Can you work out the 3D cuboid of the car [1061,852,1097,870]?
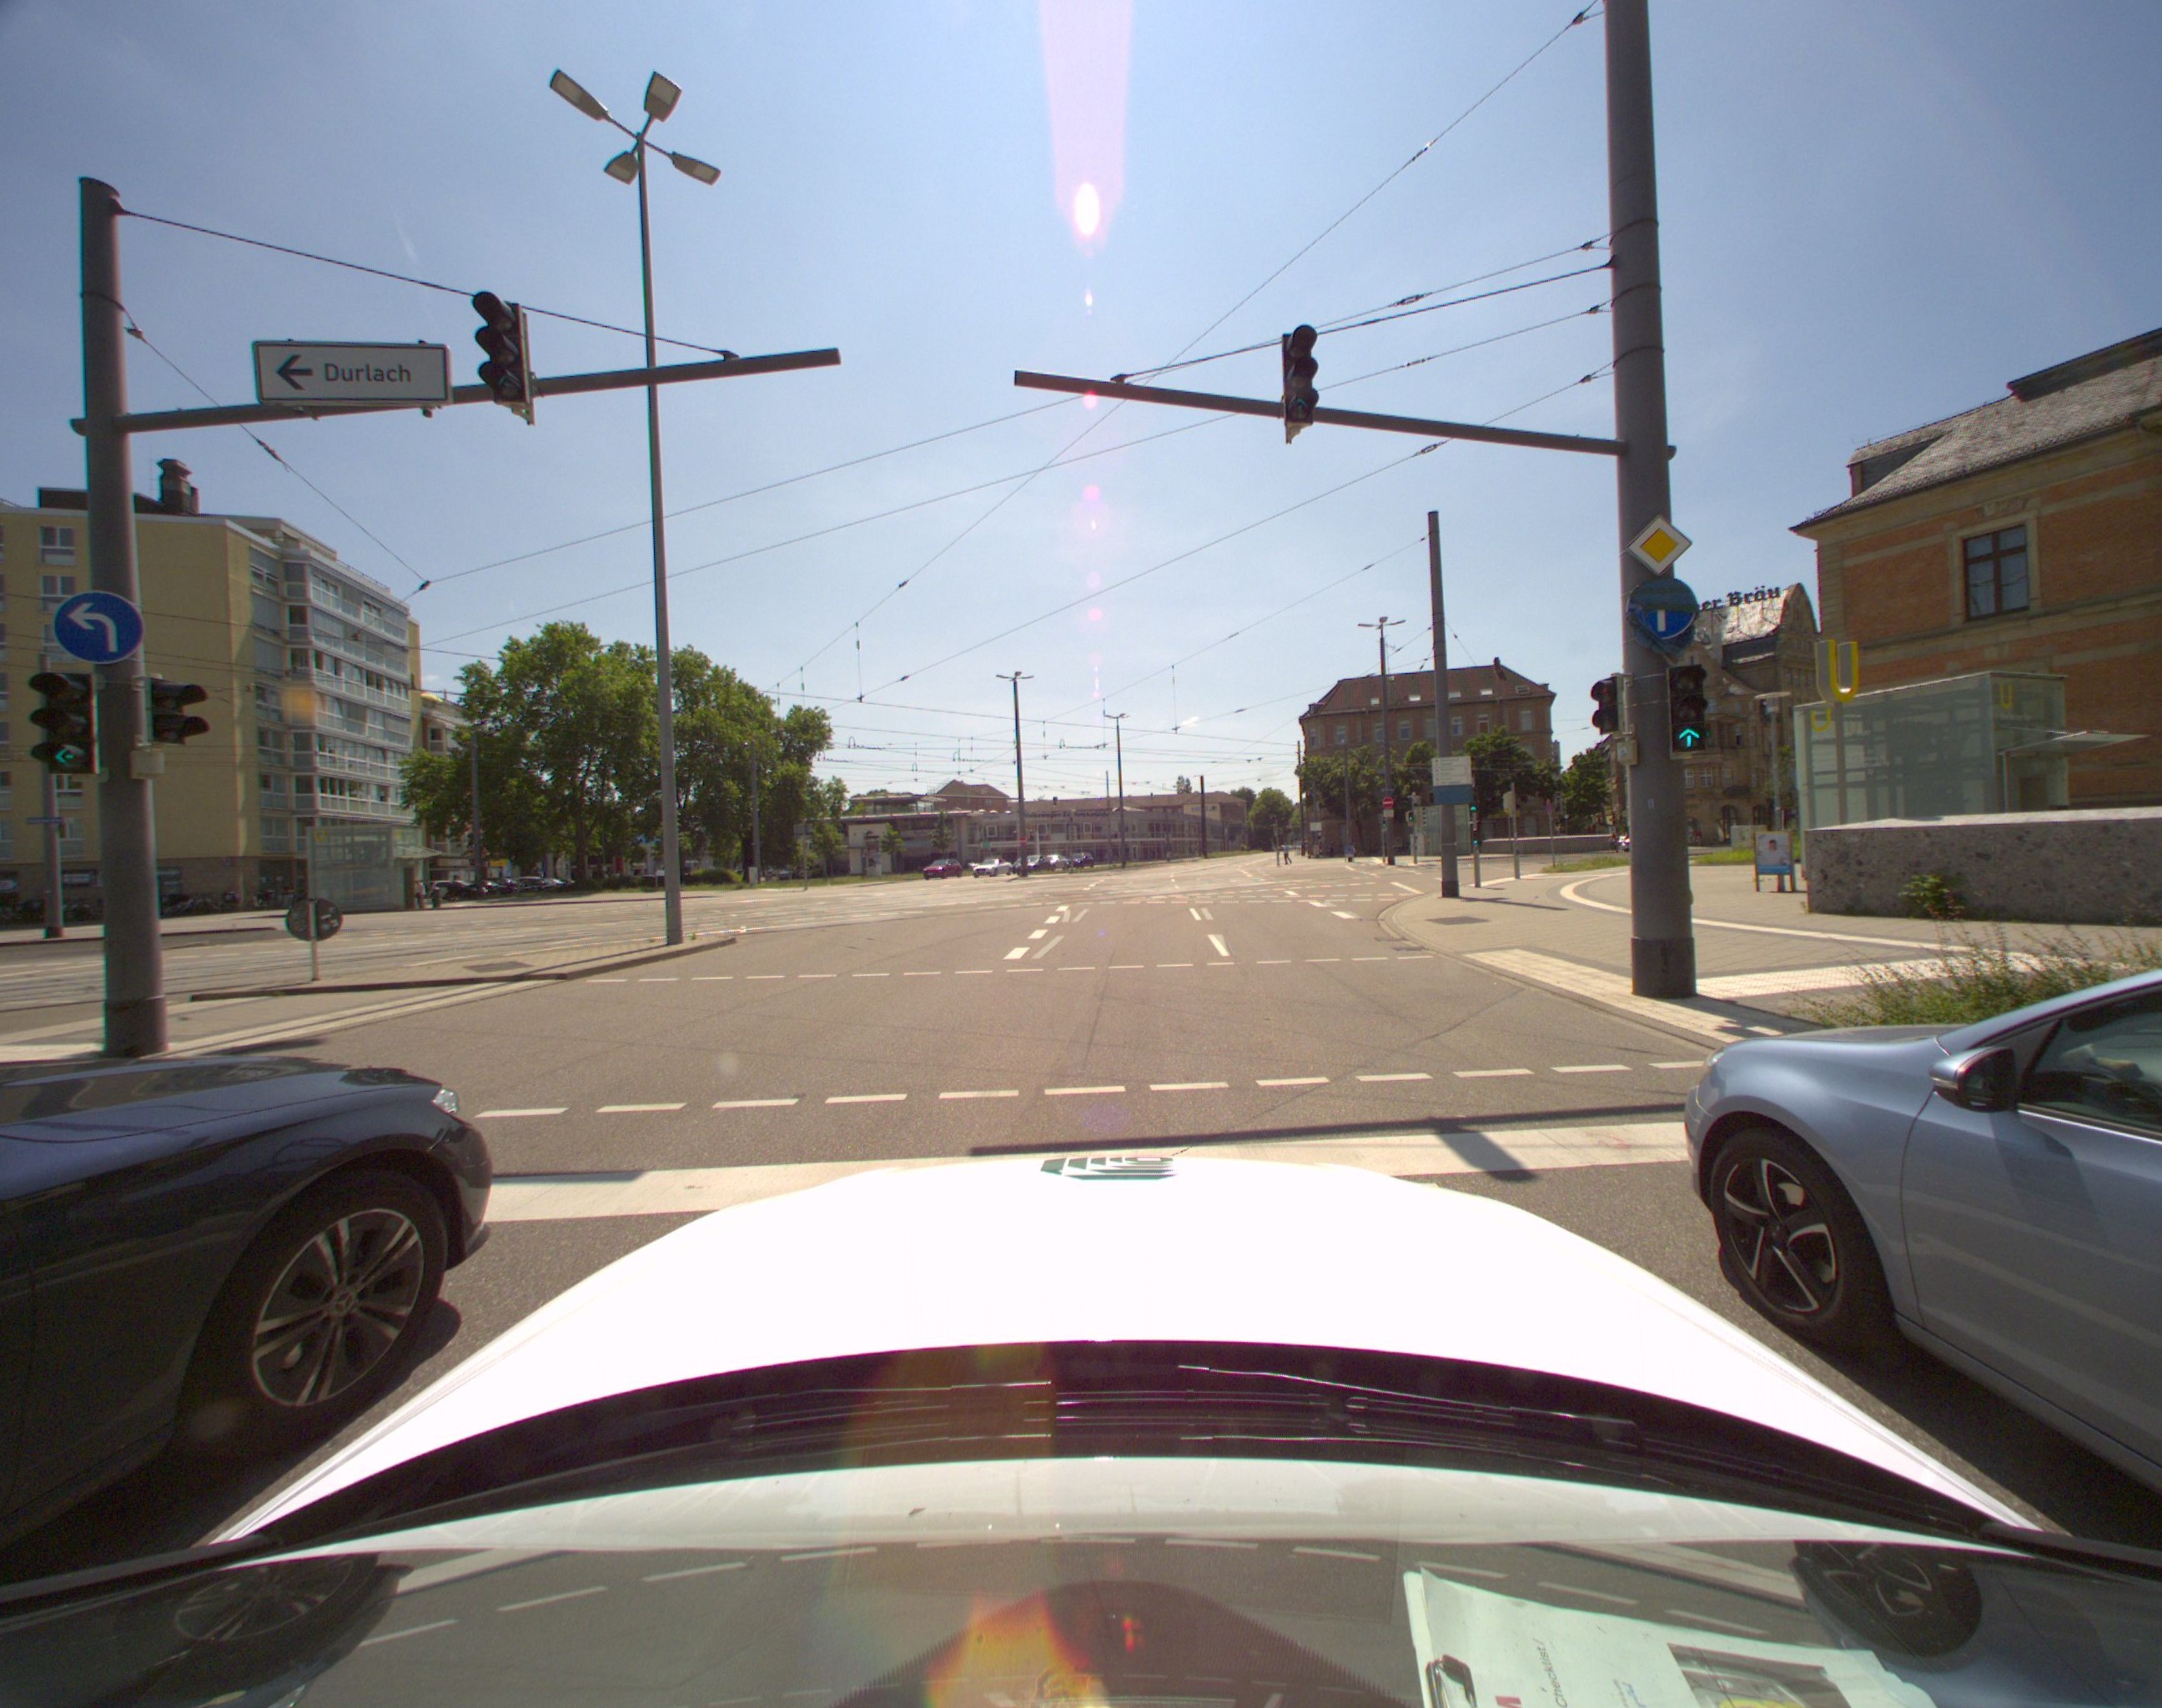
[{"bbox_3d":[-0.192,0.675,82.863,2.061,1.682,4.870,-2,0,19],"label":"car"}]

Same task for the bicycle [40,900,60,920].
[{"bbox_3d":[-56.496,3.038,44.625,0.435,1.026,1.426,-2,0,-42],"label":"bicycle"}]

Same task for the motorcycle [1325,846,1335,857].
[{"bbox_3d":[23.865,-0.235,78.038,0.577,1.074,1.949,-2,0,6],"label":"motorcycle"}]

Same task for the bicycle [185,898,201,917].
[{"bbox_3d":[-50.369,3.013,46.201,0.435,1.026,1.426,-2,0,-42],"label":"bicycle"}]

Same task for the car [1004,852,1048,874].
[{"bbox_3d":[-4.682,0.741,70.196,1.977,1.700,4.870,-2,0,19],"label":"car"}]

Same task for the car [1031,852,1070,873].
[{"bbox_3d":[-2.818,0.785,76.084,1.977,1.739,4.566,-2,0,19],"label":"car"}]

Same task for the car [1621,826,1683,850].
[{"bbox_3d":[42.127,-1.180,60.062,4.196,1.605,1.682,-2,0,-22],"label":"car"}]

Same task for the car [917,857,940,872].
[{"bbox_3d":[-18.778,1.291,100.425,1.913,1.707,4.003,0,-1,3],"label":"car"}]

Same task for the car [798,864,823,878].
[{"bbox_3d":[-33.871,2.123,101.984,1.762,1.510,4.323,-2,0,-2],"label":"car"}]

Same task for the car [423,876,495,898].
[{"bbox_3d":[-48.268,2.564,63.271,4.003,1.420,1.985,-2,0,-22],"label":"car"}]

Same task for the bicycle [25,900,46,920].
[{"bbox_3d":[-56.986,3.039,44.394,0.435,1.026,1.426,-2,0,-42],"label":"bicycle"}]

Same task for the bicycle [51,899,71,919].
[{"bbox_3d":[-55.989,3.035,44.694,0.435,1.026,1.426,-2,0,-42],"label":"bicycle"}]

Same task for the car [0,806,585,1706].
[{"bbox_3d":[-2.917,0.746,0.723,1.790,1.640,4.808,-1,0,3],"label":"car"}]

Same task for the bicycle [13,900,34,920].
[{"bbox_3d":[-57.443,3.040,44.239,0.435,1.026,1.426,-2,0,-42],"label":"bicycle"}]

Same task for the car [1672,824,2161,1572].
[{"bbox_3d":[2.897,0.660,0.925,1.645,1.459,4.005,-1,0,2],"label":"car"}]

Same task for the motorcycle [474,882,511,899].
[{"bbox_3d":[-39.481,2.446,54.683,1.925,0.961,0.521,-2,0,-28],"label":"motorcycle"}]

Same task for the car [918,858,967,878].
[{"bbox_3d":[-11.343,1.115,67.009,1.978,1.465,4.867,-2,0,16],"label":"car"}]

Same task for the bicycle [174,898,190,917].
[{"bbox_3d":[-50.793,3.014,46.016,0.435,1.026,1.426,-2,0,-42],"label":"bicycle"}]

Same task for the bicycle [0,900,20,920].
[{"bbox_3d":[-58.043,3.043,44.093,0.435,1.026,1.426,-2,0,-42],"label":"bicycle"}]

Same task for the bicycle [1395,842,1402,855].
[{"bbox_3d":[30.104,-0.534,77.247,0.546,1.120,1.879,-2,0,18],"label":"bicycle"}]

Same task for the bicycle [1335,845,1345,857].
[{"bbox_3d":[24.794,-0.296,77.941,0.548,1.120,1.825,-2,0,9],"label":"bicycle"}]

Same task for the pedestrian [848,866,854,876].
[{"bbox_3d":[-27.786,2.053,98.238,0.510,1.204,0.446,-2,0,8],"label":"pedestrian"}]

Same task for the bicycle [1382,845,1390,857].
[{"bbox_3d":[28.861,-0.322,77.054,0.546,1.120,1.898,-2,0,19],"label":"bicycle"}]

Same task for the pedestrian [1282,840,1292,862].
[{"bbox_3d":[16.256,-0.197,64.261,0.461,1.708,0.637,-2,0,-13],"label":"pedestrian"}]

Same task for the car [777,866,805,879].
[{"bbox_3d":[-36.487,2.293,102.579,1.759,1.510,4.330,-2,0,3],"label":"car"}]

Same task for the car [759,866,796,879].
[{"bbox_3d":[-40.293,2.507,108.156,4.343,1.510,1.754,-2,0,-33],"label":"car"}]

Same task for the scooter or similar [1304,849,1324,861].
[{"bbox_3d":[23.111,0.111,80.850,1.789,1.181,0.596,-2,0,-15],"label":"scooter or similar"}]

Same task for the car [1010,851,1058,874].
[{"bbox_3d":[-3.646,0.650,64.328,1.977,1.637,4.870,-2,0,19],"label":"car"}]

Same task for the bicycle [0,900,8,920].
[{"bbox_3d":[-58.515,3.045,43.971,0.435,1.026,1.426,-2,0,-42],"label":"bicycle"}]

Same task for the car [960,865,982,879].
[{"bbox_3d":[-13.514,2.165,100.366,1.913,1.707,4.003,0,-1,3],"label":"car"}]

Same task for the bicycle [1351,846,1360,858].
[{"bbox_3d":[26.163,-0.166,77.671,0.440,1.146,2.099,-1,-1,9],"label":"bicycle"}]

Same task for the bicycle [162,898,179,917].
[{"bbox_3d":[-51.259,3.015,45.852,0.435,1.026,1.426,-2,0,-42],"label":"bicycle"}]

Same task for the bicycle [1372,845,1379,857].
[{"bbox_3d":[27.861,-0.312,77.137,0.546,1.120,1.829,-2,0,18],"label":"bicycle"}]

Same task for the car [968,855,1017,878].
[{"bbox_3d":[-6.888,0.944,64.121,2.061,1.580,4.867,-2,0,16],"label":"car"}]

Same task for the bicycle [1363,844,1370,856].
[{"bbox_3d":[27.151,-0.403,77.412,0.546,1.120,1.829,-2,0,18],"label":"bicycle"}]

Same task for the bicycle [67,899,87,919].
[{"bbox_3d":[-55.488,3.036,45.010,0.435,1.026,1.426,-2,0,-42],"label":"bicycle"}]

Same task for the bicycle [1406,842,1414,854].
[{"bbox_3d":[31.213,-0.586,77.358,0.546,1.120,1.939,-2,0,19],"label":"bicycle"}]

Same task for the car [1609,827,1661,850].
[{"bbox_3d":[44.280,-1.240,65.101,3.655,1.605,1.682,-2,0,-22],"label":"car"}]

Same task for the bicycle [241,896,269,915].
[{"bbox_3d":[-48.824,3.030,48.161,0.432,1.026,1.437,-2,0,-13],"label":"bicycle"}]
